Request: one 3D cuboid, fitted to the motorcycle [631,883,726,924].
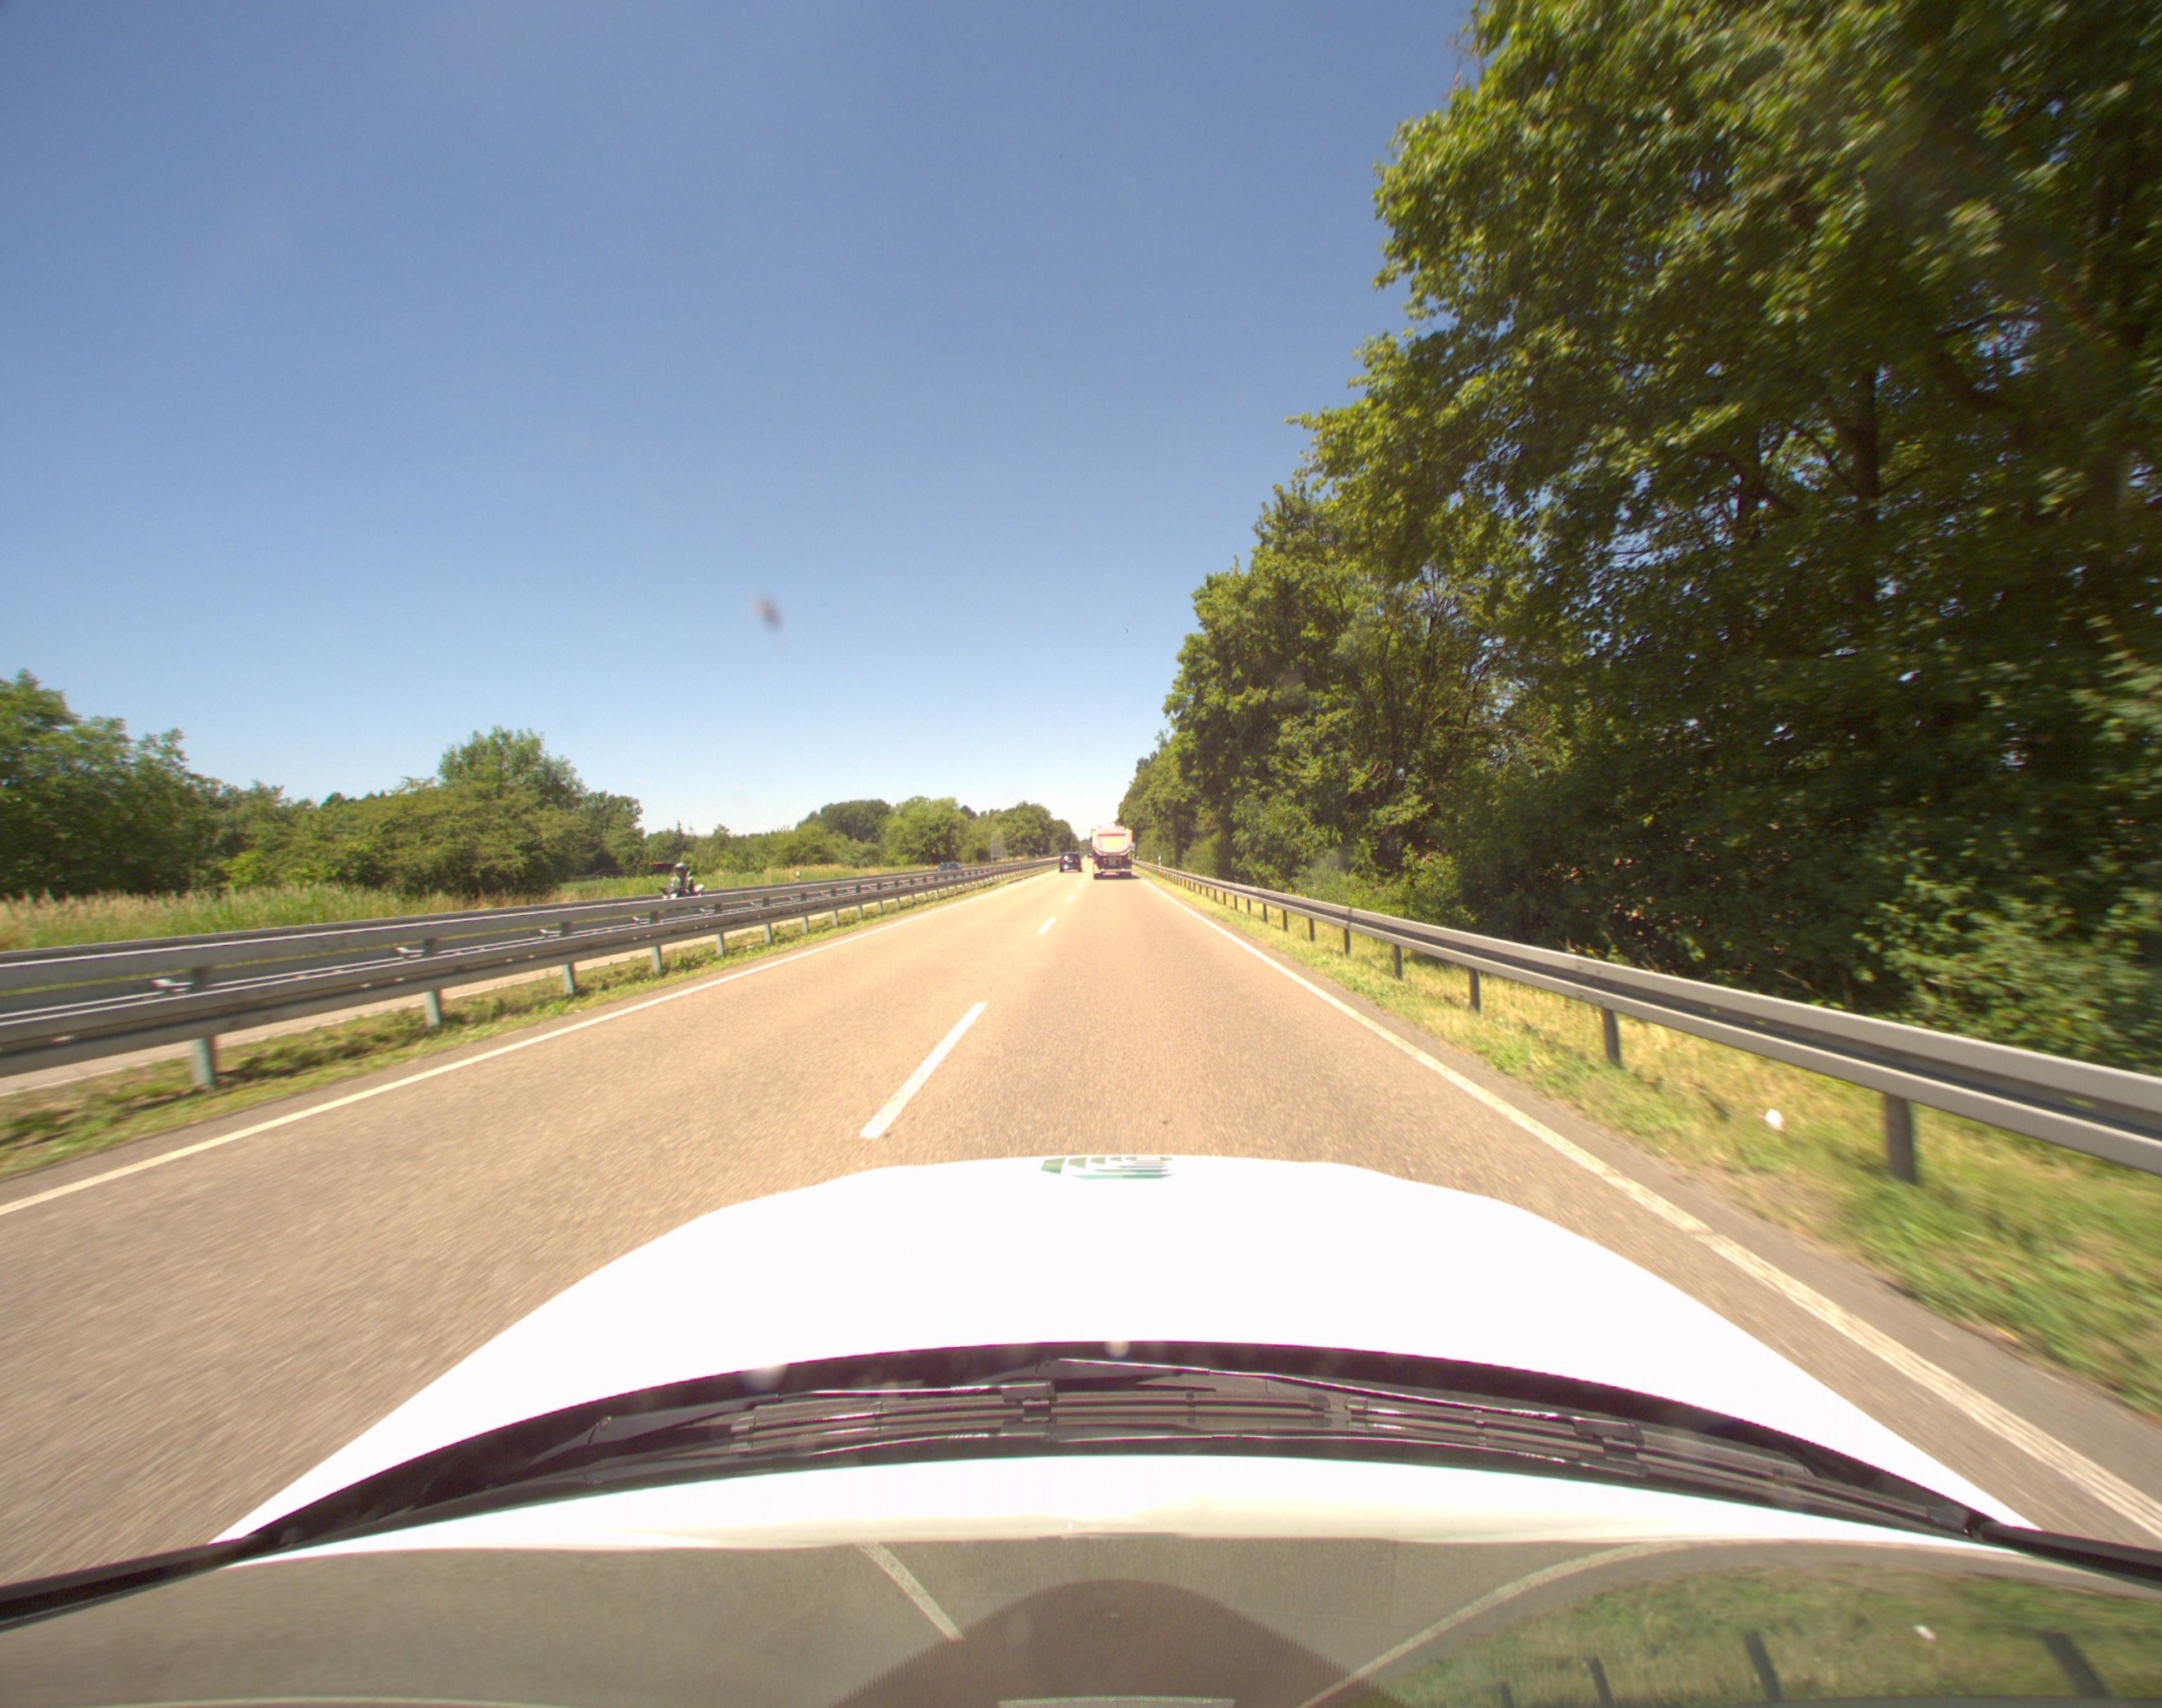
[{"bbox_3d":[-13.028,1.573,26.591,1.059,1.064,3.820,-3,0,2],"label":"motorcycle"}]

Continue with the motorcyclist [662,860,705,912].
[{"bbox_3d":[-13.049,1.039,26.731,0.942,1.617,0.809,-3,0,0],"label":"motorcyclist"}]

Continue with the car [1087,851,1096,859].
[{"bbox_3d":[2.394,0.277,186.365,1.851,1.718,4.000,-1,-1,1],"label":"car"}]

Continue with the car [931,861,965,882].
[{"bbox_3d":[-9.045,1.155,55.797,1.622,1.332,3.536,-2,0,1],"label":"car"}]

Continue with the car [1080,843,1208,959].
[{"bbox_3d":[0.950,0.726,13.900,1.851,1.671,4.000,-1,-1,1],"label":"car"}]

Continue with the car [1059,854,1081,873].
[{"bbox_3d":[-0.928,0.891,73.049,1.851,1.671,4.000,-1,-1,1],"label":"car"}]

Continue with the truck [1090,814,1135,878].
[{"bbox_3d":[2.072,-0.553,56.845,2.711,3.930,12.372,-1,0,1],"label":"truck"}]
